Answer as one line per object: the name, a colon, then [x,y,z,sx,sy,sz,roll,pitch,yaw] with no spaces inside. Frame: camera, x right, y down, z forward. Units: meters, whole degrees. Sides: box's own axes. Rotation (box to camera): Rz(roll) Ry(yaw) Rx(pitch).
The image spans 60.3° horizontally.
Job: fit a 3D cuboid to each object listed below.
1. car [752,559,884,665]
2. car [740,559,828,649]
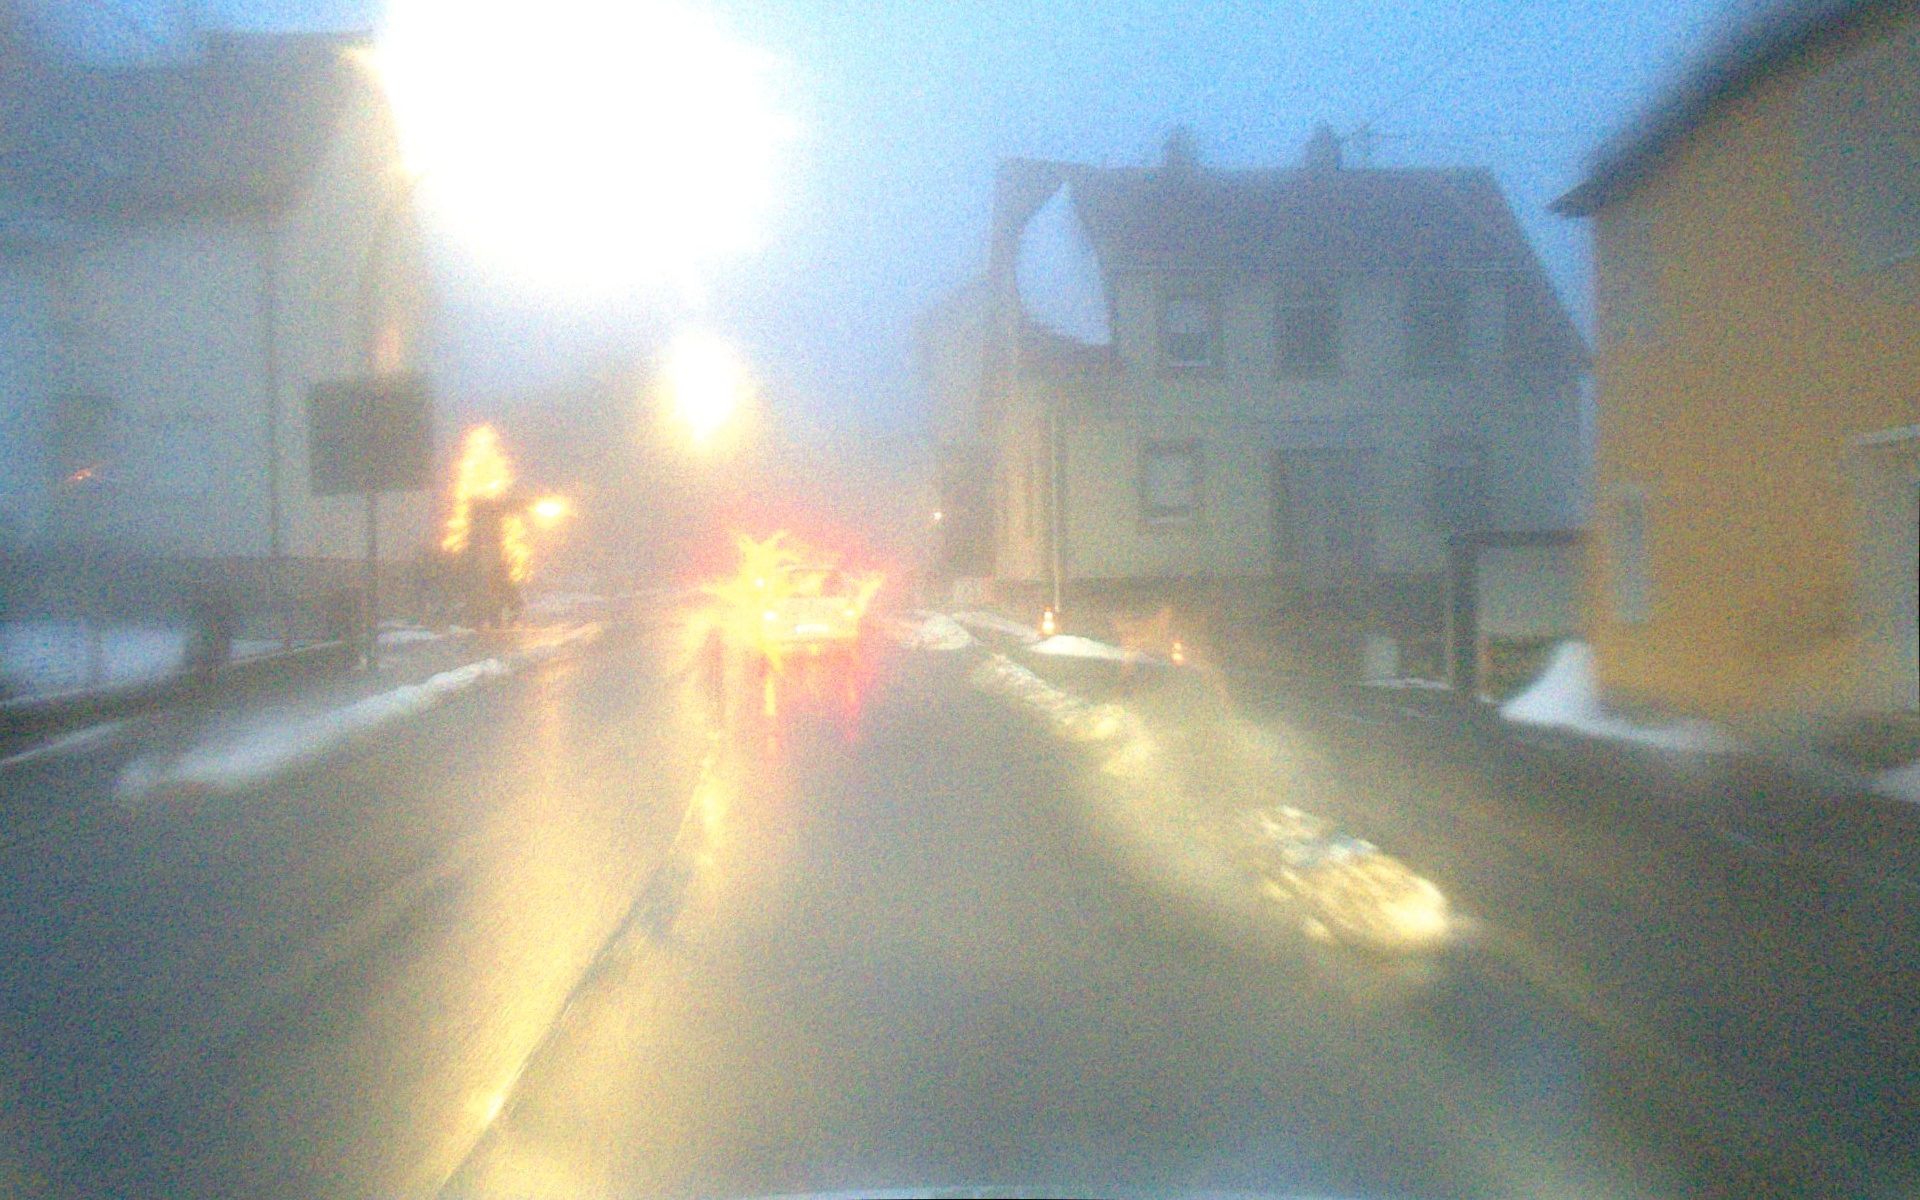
car: [-2.369,0.227,27.200,1.955,1.534,3.994,2,-2,-6]
car: [-4.355,0.145,41.393,1.954,2.049,3.996,2,-2,-4]
